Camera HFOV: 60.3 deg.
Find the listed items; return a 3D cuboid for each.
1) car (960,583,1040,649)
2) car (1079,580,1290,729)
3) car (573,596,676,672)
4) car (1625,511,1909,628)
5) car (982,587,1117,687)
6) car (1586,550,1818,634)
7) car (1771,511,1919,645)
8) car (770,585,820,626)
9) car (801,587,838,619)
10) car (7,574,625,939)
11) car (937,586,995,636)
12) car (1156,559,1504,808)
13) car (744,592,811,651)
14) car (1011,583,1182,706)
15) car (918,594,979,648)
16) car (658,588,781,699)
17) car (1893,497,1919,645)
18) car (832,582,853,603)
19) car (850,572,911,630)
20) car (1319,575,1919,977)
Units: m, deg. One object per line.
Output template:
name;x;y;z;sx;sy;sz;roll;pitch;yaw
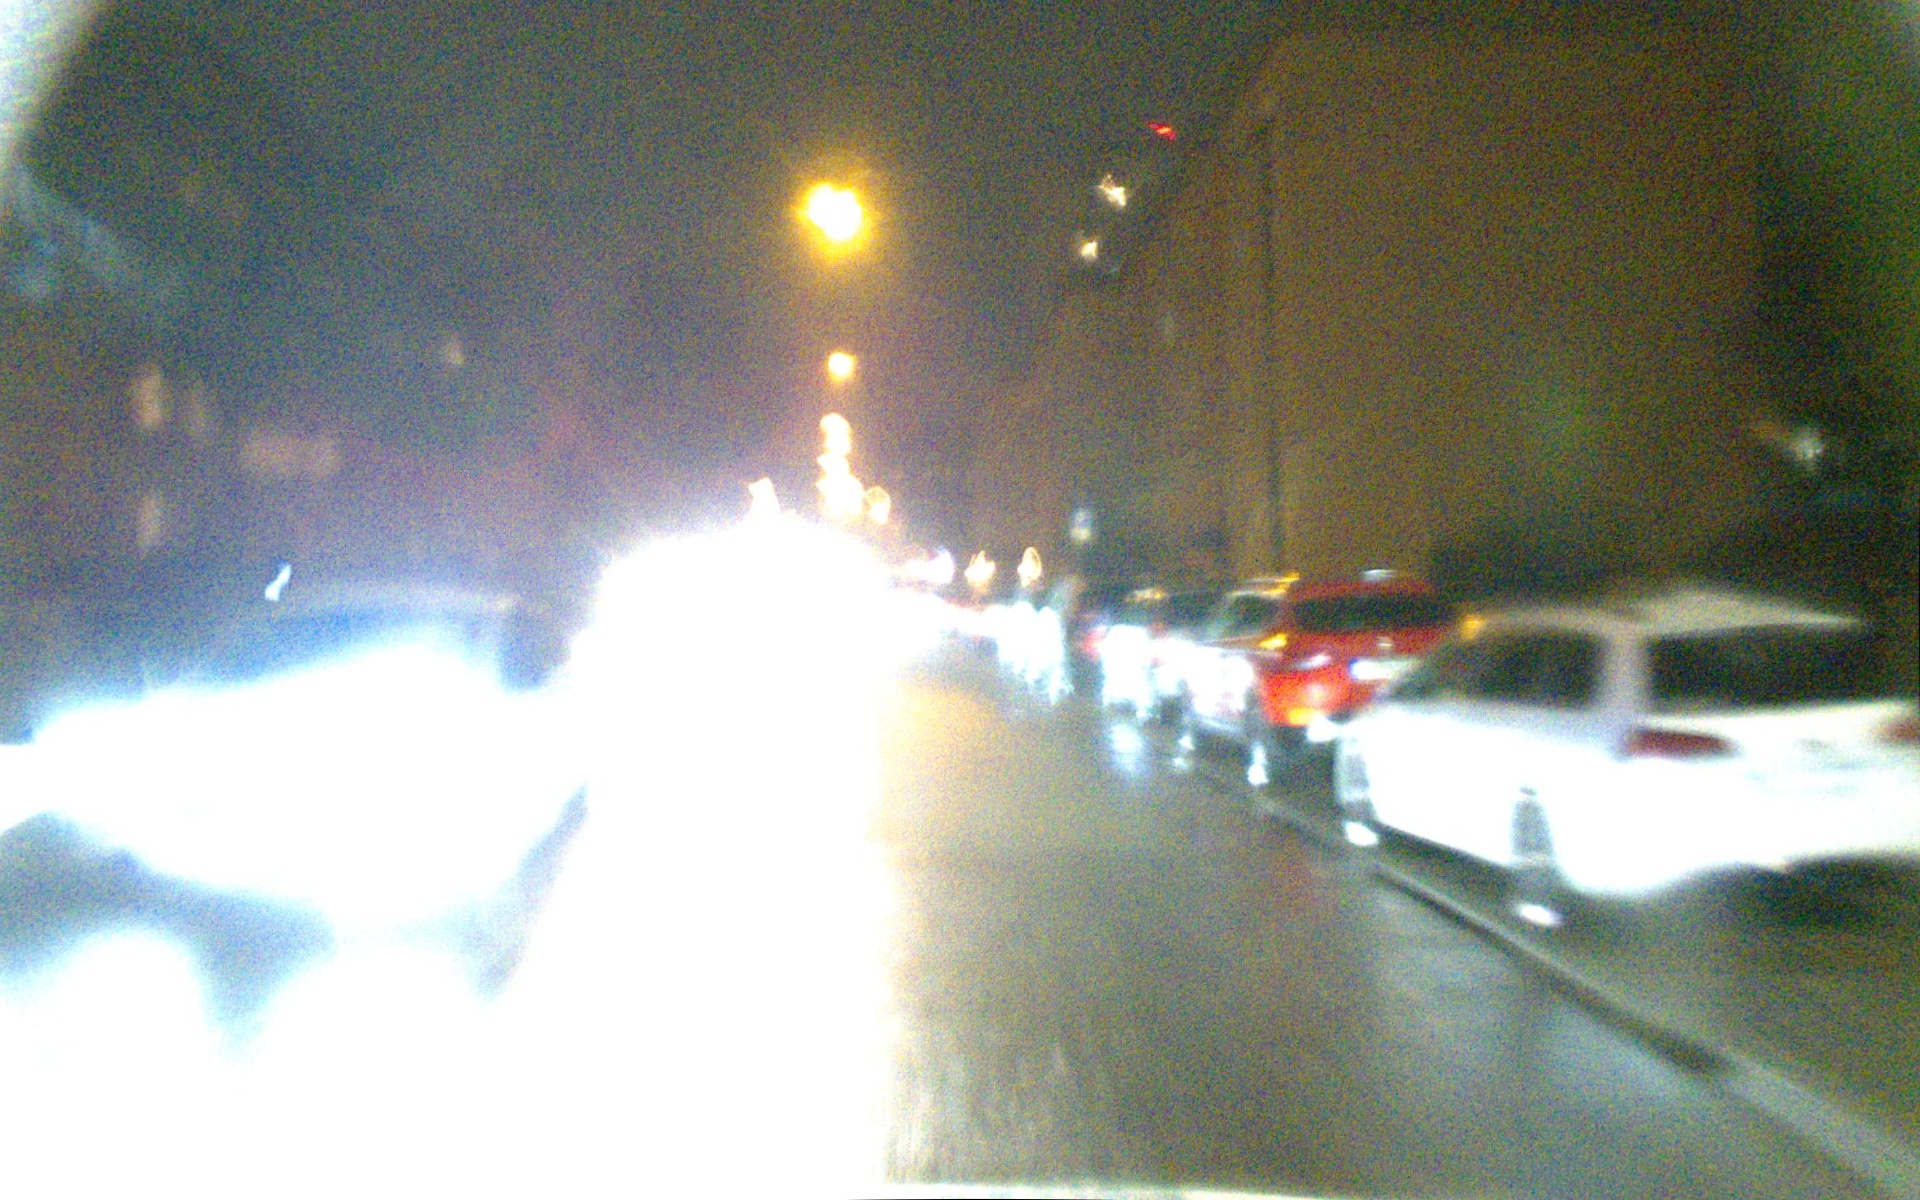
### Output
car;0.957;0.353;41.743;1.596;1.491;4.507;-3;1;-3
car;2.663;0.579;20.544;1.720;1.555;4.150;-3;1;-4
car;-7.458;0.712;37.134;1.546;1.482;4.642;-2;1;-3
car;13.669;-0.515;28.146;3.984;1.820;1.749;-2;1;-2
car;1.596;0.626;31.205;1.844;1.600;4.584;-4;1;-5
car;13.821;-0.156;30.925;3.612;1.424;1.620;-2;1;-2
car;12.373;-0.312;20.420;3.908;1.547;1.684;-2;1;-4
car;-6.337;0.191;63.596;1.821;1.486;4.518;0;1;-5
car;-6.950;0.112;81.908;1.785;1.489;4.861;0;1;-5
car;-3.112;0.631;9.111;1.760;1.487;4.576;1;0;-2
car;0.153;0.319;51.596;1.466;1.412;3.744;-3;1;-4
car;3.003;0.580;14.356;1.680;1.737;4.183;-3;1;-5
car;-4.915;0.581;44.990;1.643;1.459;4.507;-2;0;-5
car;2.011;0.601;25.746;1.844;1.599;4.523;-4;1;-5
car;-0.430;0.699;57.830;1.785;1.702;3.997;-3;1;-4
car;-3.496;0.593;24.459;1.516;1.525;2.792;0;1;-3
car;12.761;-0.376;18.164;4.134;1.645;1.684;-2;1;-4
car;-10.796;-0.697;151.743;1.777;1.739;3.800;-3;1;-4
car;-2.674;0.003;55.685;1.954;1.713;3.999;-1;3;-3
car;3.356;0.674;8.709;1.679;1.515;4.433;-2;0;-4
